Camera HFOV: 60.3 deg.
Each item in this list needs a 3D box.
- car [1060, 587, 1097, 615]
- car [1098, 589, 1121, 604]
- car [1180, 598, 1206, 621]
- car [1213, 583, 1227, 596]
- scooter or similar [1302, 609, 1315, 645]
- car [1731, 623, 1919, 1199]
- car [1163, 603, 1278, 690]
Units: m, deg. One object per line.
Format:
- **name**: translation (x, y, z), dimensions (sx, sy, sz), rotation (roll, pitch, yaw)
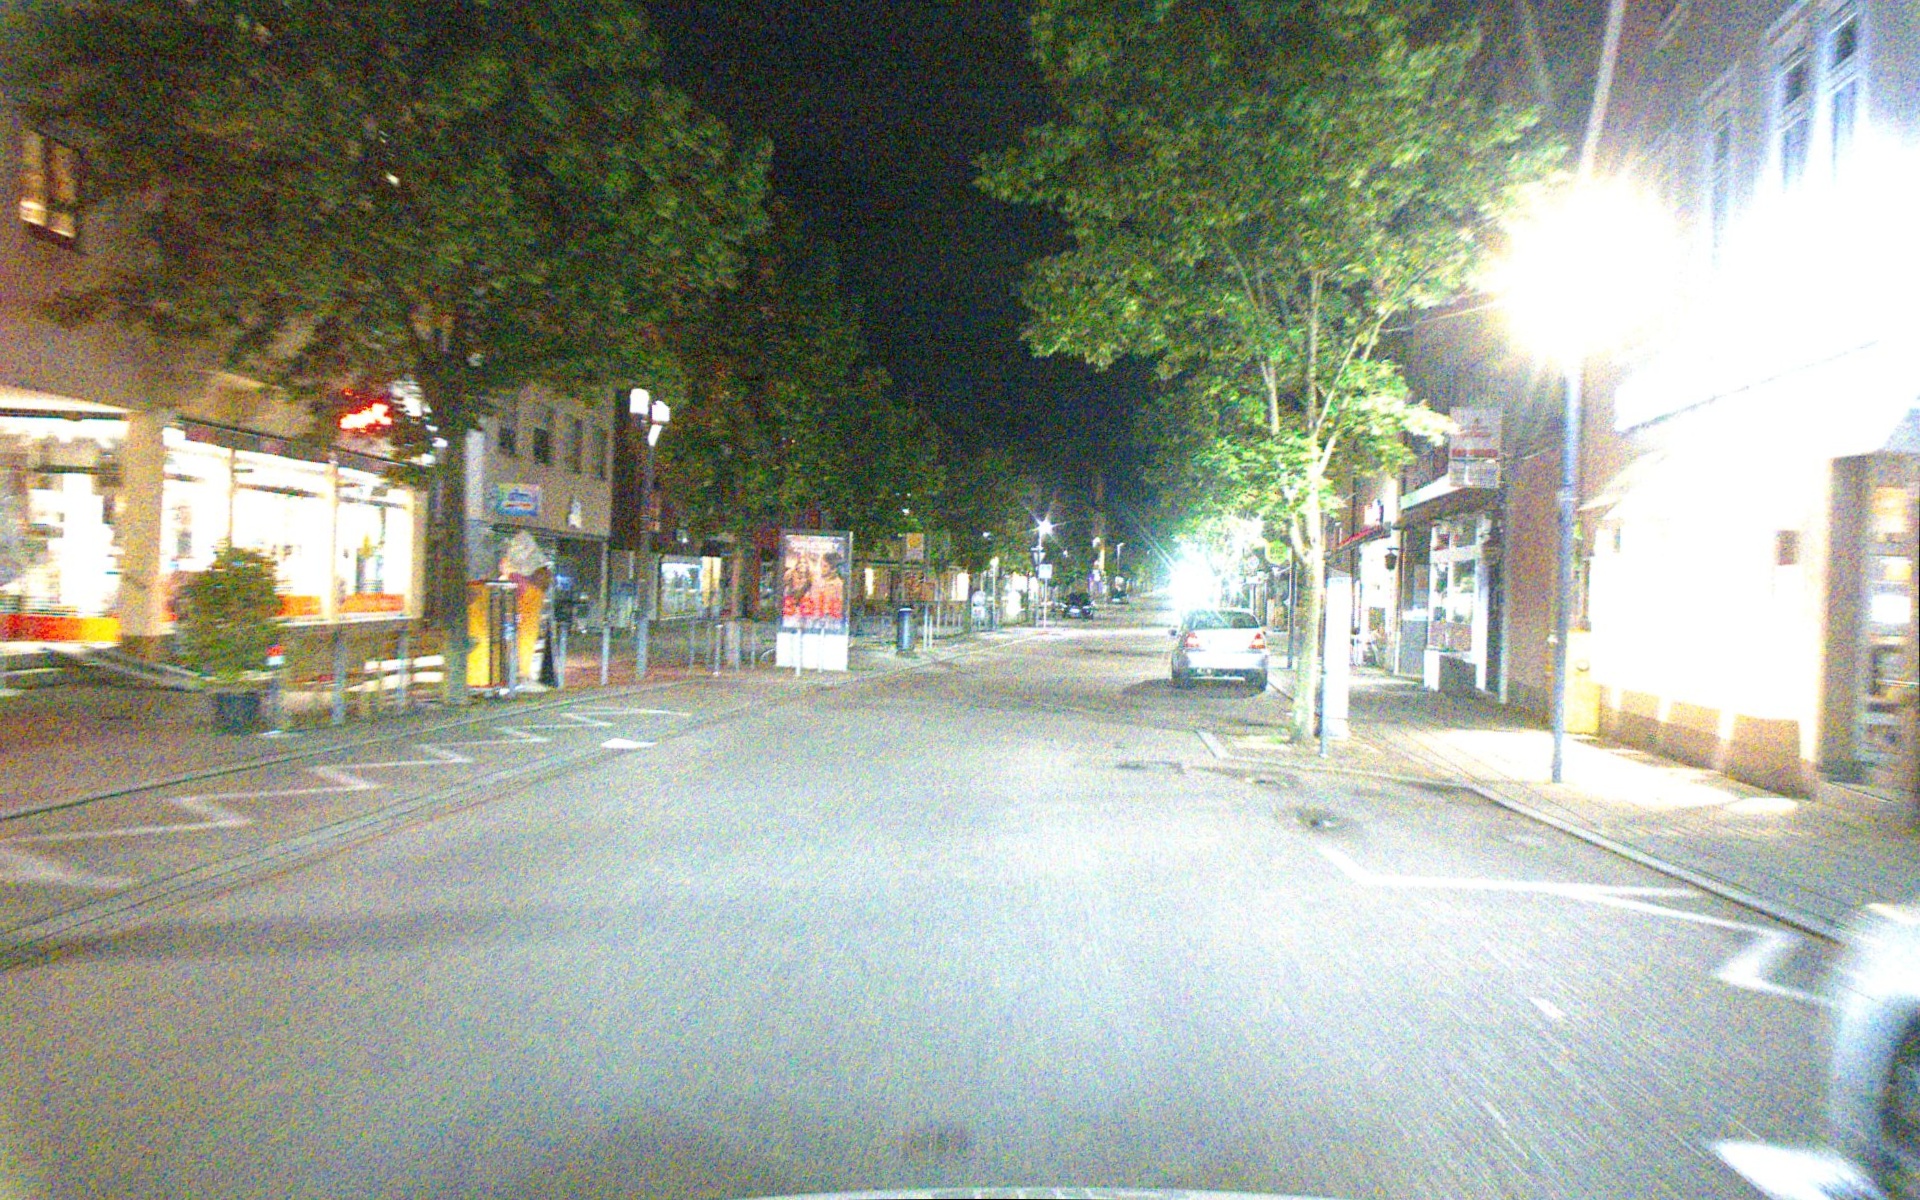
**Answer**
- **car**: translation (7.894, 0.066, 109.515), dimensions (1.975, 1.720, 5.007), rotation (3, 1, 9)
- **car**: translation (14.788, -0.346, 163.120), dimensions (1.873, 1.394, 4.461), rotation (1, 1, 10)
- **car**: translation (16.061, 0.641, 114.025), dimensions (1.639, 1.485, 3.678), rotation (1, 1, 6)
- **car**: translation (33.724, -1.381, 214.452), dimensions (1.737, 1.681, 4.368), rotation (1, 1, 10)
- **scooter or similar**: translation (12.653, 0.981, 60.047), dimensions (0.365, 1.299, 1.306), rotation (1, -1, 9)
- **car**: translation (3.003, 0.805, 2.311), dimensions (1.706, 1.514, 4.636), rotation (1, -1, 0)
- **car**: translation (4.911, 0.831, 31.728), dimensions (1.698, 1.466, 4.498), rotation (1, 0, 3)
